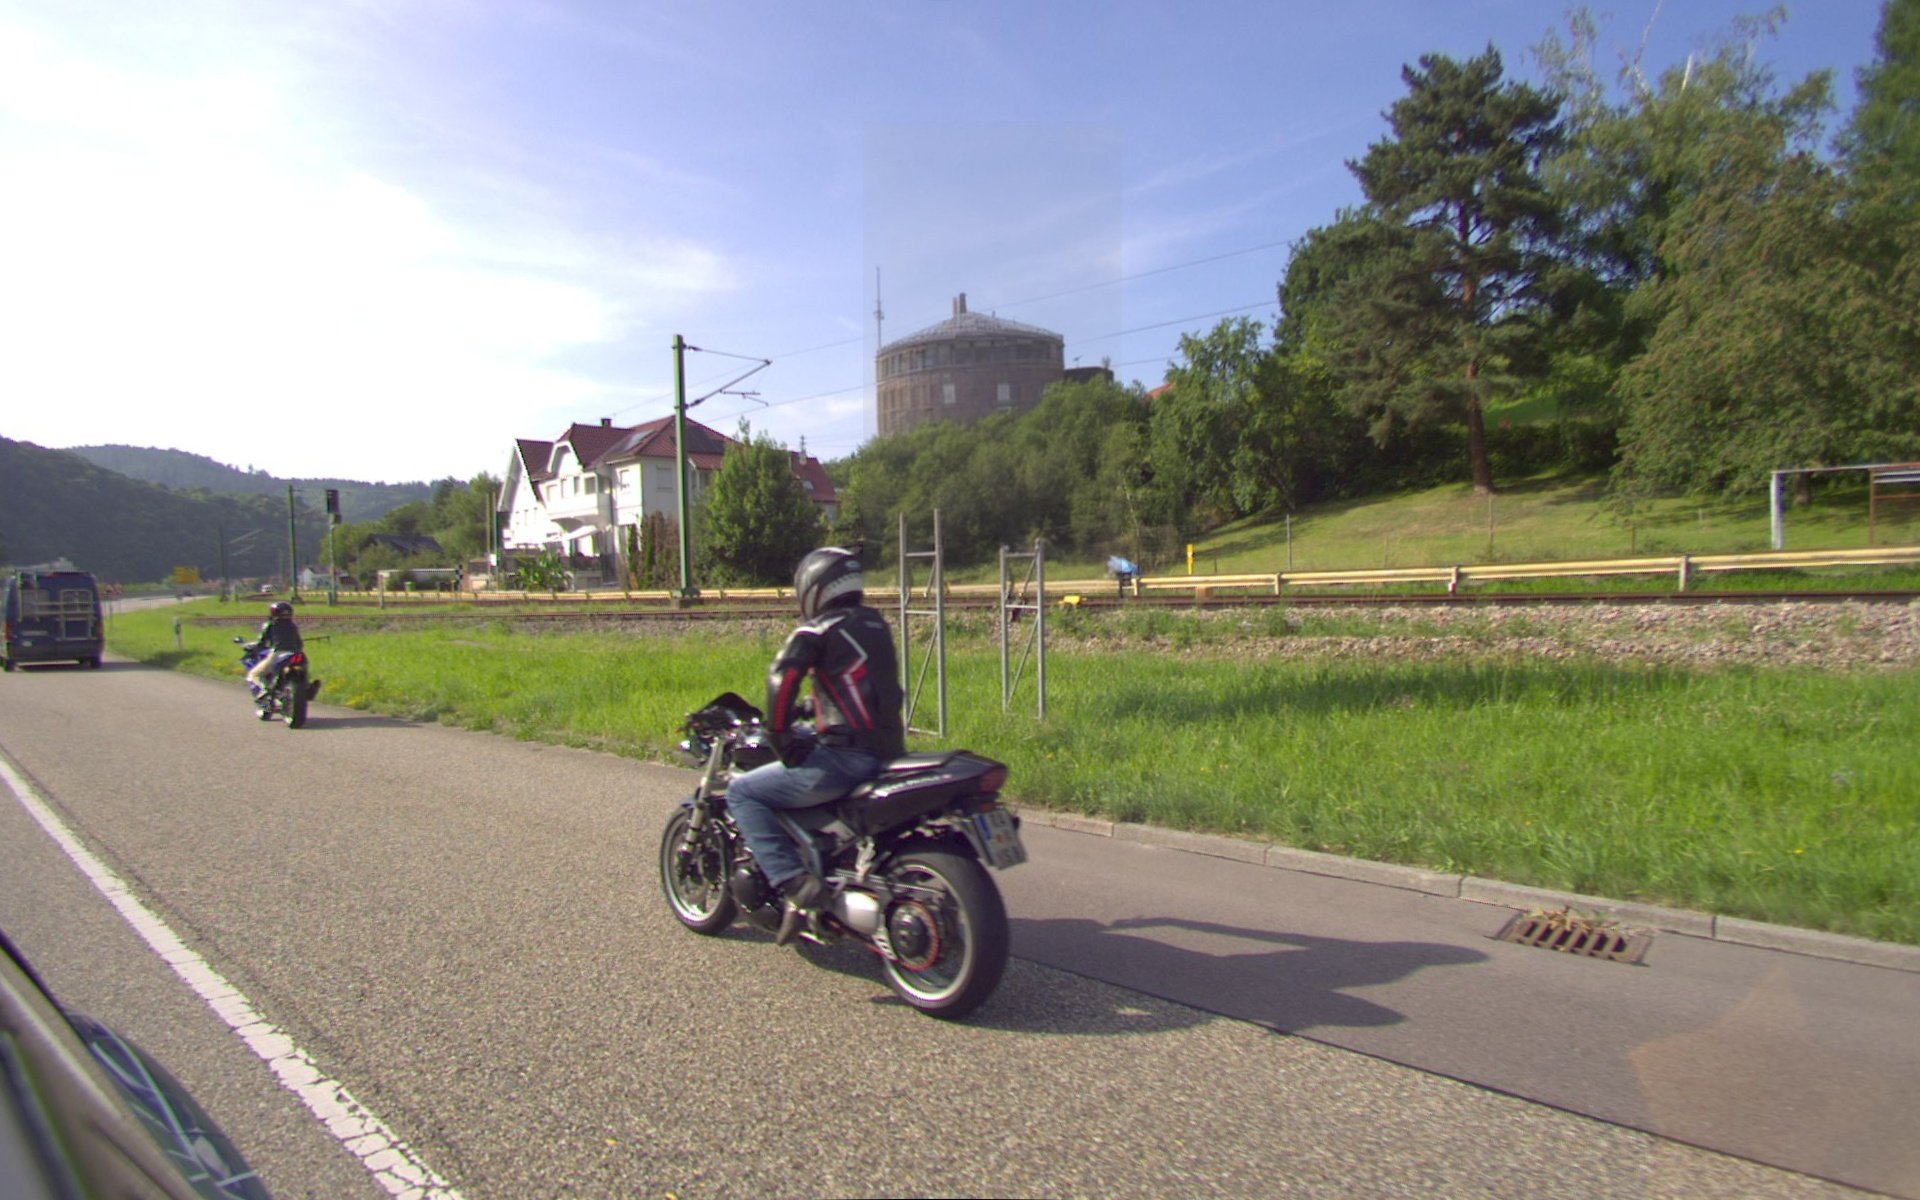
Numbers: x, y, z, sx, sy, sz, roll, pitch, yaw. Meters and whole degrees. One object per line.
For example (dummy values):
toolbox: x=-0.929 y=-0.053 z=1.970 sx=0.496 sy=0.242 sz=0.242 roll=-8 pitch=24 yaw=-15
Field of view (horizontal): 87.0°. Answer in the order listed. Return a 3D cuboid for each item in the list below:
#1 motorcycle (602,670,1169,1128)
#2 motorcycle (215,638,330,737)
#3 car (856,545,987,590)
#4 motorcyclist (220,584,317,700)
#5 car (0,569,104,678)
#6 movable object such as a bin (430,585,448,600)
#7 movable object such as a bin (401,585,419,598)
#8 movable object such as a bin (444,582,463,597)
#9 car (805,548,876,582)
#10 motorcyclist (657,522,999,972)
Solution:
motorcycle: x=-0.389 y=0.880 z=3.770 sx=2.124 sy=1.139 sz=0.853 roll=-2 pitch=-1 yaw=42
motorcycle: x=-8.927 y=1.083 z=13.104 sx=1.969 sy=1.139 sz=0.852 roll=-2 pitch=-1 yaw=44
car: x=-1.548 y=-1.372 z=41.977 sx=4.901 sy=1.704 sz=2.460 roll=-3 pitch=2 yaw=-39
motorcyclist: x=-8.980 y=0.529 z=13.139 sx=0.964 sy=1.433 sz=0.834 roll=-2 pitch=-1 yaw=44
car: x=-24.803 y=0.612 z=27.158 sx=5.478 sy=2.635 sz=2.104 roll=-1 pitch=-1 yaw=42
movable object such as a bin: x=-43.365 y=-0.606 z=84.178 sx=1.076 sy=1.200 sz=1.145 roll=-3 pitch=2 yaw=-41
movable object such as a bin: x=-50.746 y=-0.800 z=93.412 sx=1.093 sy=1.200 sz=1.127 roll=0 pitch=2 yaw=44
movable object such as a bin: x=-42.485 y=-0.880 z=84.888 sx=1.076 sy=1.200 sz=1.145 roll=-3 pitch=2 yaw=-41
car: x=-7.478 y=-2.216 z=63.357 sx=3.937 sy=1.803 sz=1.823 roll=-7 pitch=4 yaw=-38
motorcyclist: x=-0.506 y=0.475 z=3.866 sx=0.963 sy=1.433 sz=0.835 roll=-2 pitch=-1 yaw=41
